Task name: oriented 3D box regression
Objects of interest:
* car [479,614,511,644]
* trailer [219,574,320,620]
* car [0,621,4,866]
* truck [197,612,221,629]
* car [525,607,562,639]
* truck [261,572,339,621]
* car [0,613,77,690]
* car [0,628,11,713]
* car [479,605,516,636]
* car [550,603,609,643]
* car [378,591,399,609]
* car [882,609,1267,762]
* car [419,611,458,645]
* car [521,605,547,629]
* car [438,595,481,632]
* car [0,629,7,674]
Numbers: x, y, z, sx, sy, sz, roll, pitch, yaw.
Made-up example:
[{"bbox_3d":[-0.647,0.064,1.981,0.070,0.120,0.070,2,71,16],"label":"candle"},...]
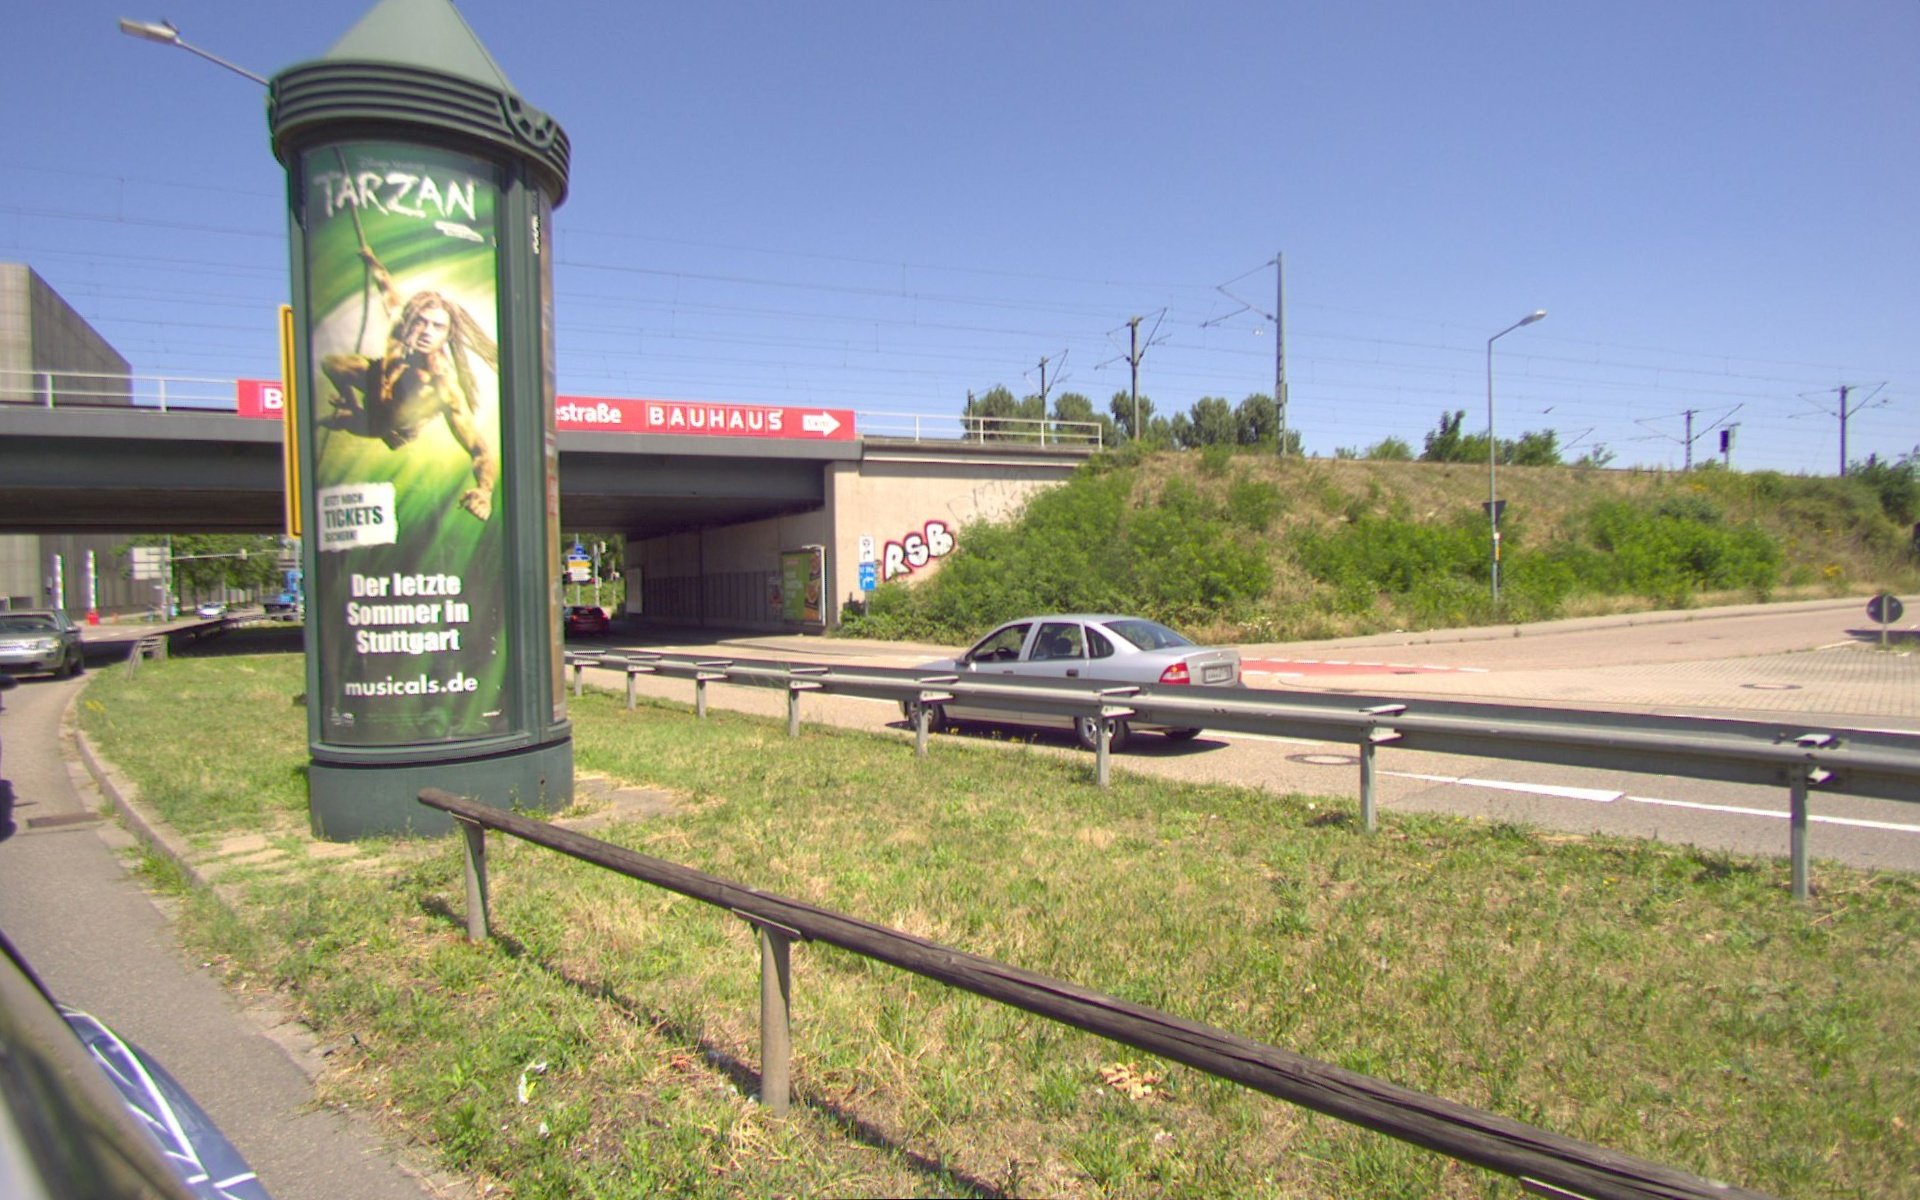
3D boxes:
[{"bbox_3d":[-20.420,1.253,44.430,1.250,1.194,2.787,-1,0,-25],"label":"car"},{"bbox_3d":[-54.661,-0.128,79.884,13.883,3.398,2.926,-1,0,40],"label":"trailer"},{"bbox_3d":[-7.609,0.870,6.702,4.057,1.428,1.659,-1,0,44],"label":"car"},{"bbox_3d":[-66.788,1.806,90.011,1.704,1.513,4.009,-1,0,-37],"label":"truck"},{"bbox_3d":[-20.940,1.110,50.802,1.548,1.514,3.418,-1,0,-25],"label":"car"},{"bbox_3d":[-49.114,-0.213,75.243,6.559,3.443,2.983,-1,0,39],"label":"truck"},{"bbox_3d":[-22.367,1.174,24.095,1.817,1.708,3.707,-1,0,-38],"label":"car"},{"bbox_3d":[-16.159,1.136,15.835,1.622,1.409,4.059,1,-2,-40],"label":"car"},{"bbox_3d":[-23.031,0.992,50.341,1.592,1.487,3.444,-1,0,-25],"label":"car"},{"bbox_3d":[-17.336,1.018,46.020,1.747,1.680,4.026,-1,0,-32],"label":"car"},{"bbox_3d":[-65.877,0.037,116.760,1.965,2.029,4.013,-1,0,-28],"label":"car"},{"bbox_3d":[1.129,0.835,11.462,4.222,1.413,1.616,-1,-2,44],"label":"car"},{"bbox_3d":[-21.984,1.141,42.698,1.389,1.329,3.272,-1,0,-26],"label":"car"},{"bbox_3d":[-23.899,0.938,56.738,1.166,1.257,2.701,-1,0,-25],"label":"car"},{"bbox_3d":[-27.410,0.727,55.364,1.876,1.874,4.012,-1,0,-29],"label":"car"},{"bbox_3d":[-31.575,1.685,31.906,1.689,1.453,4.010,-1,0,-36],"label":"car"}]
